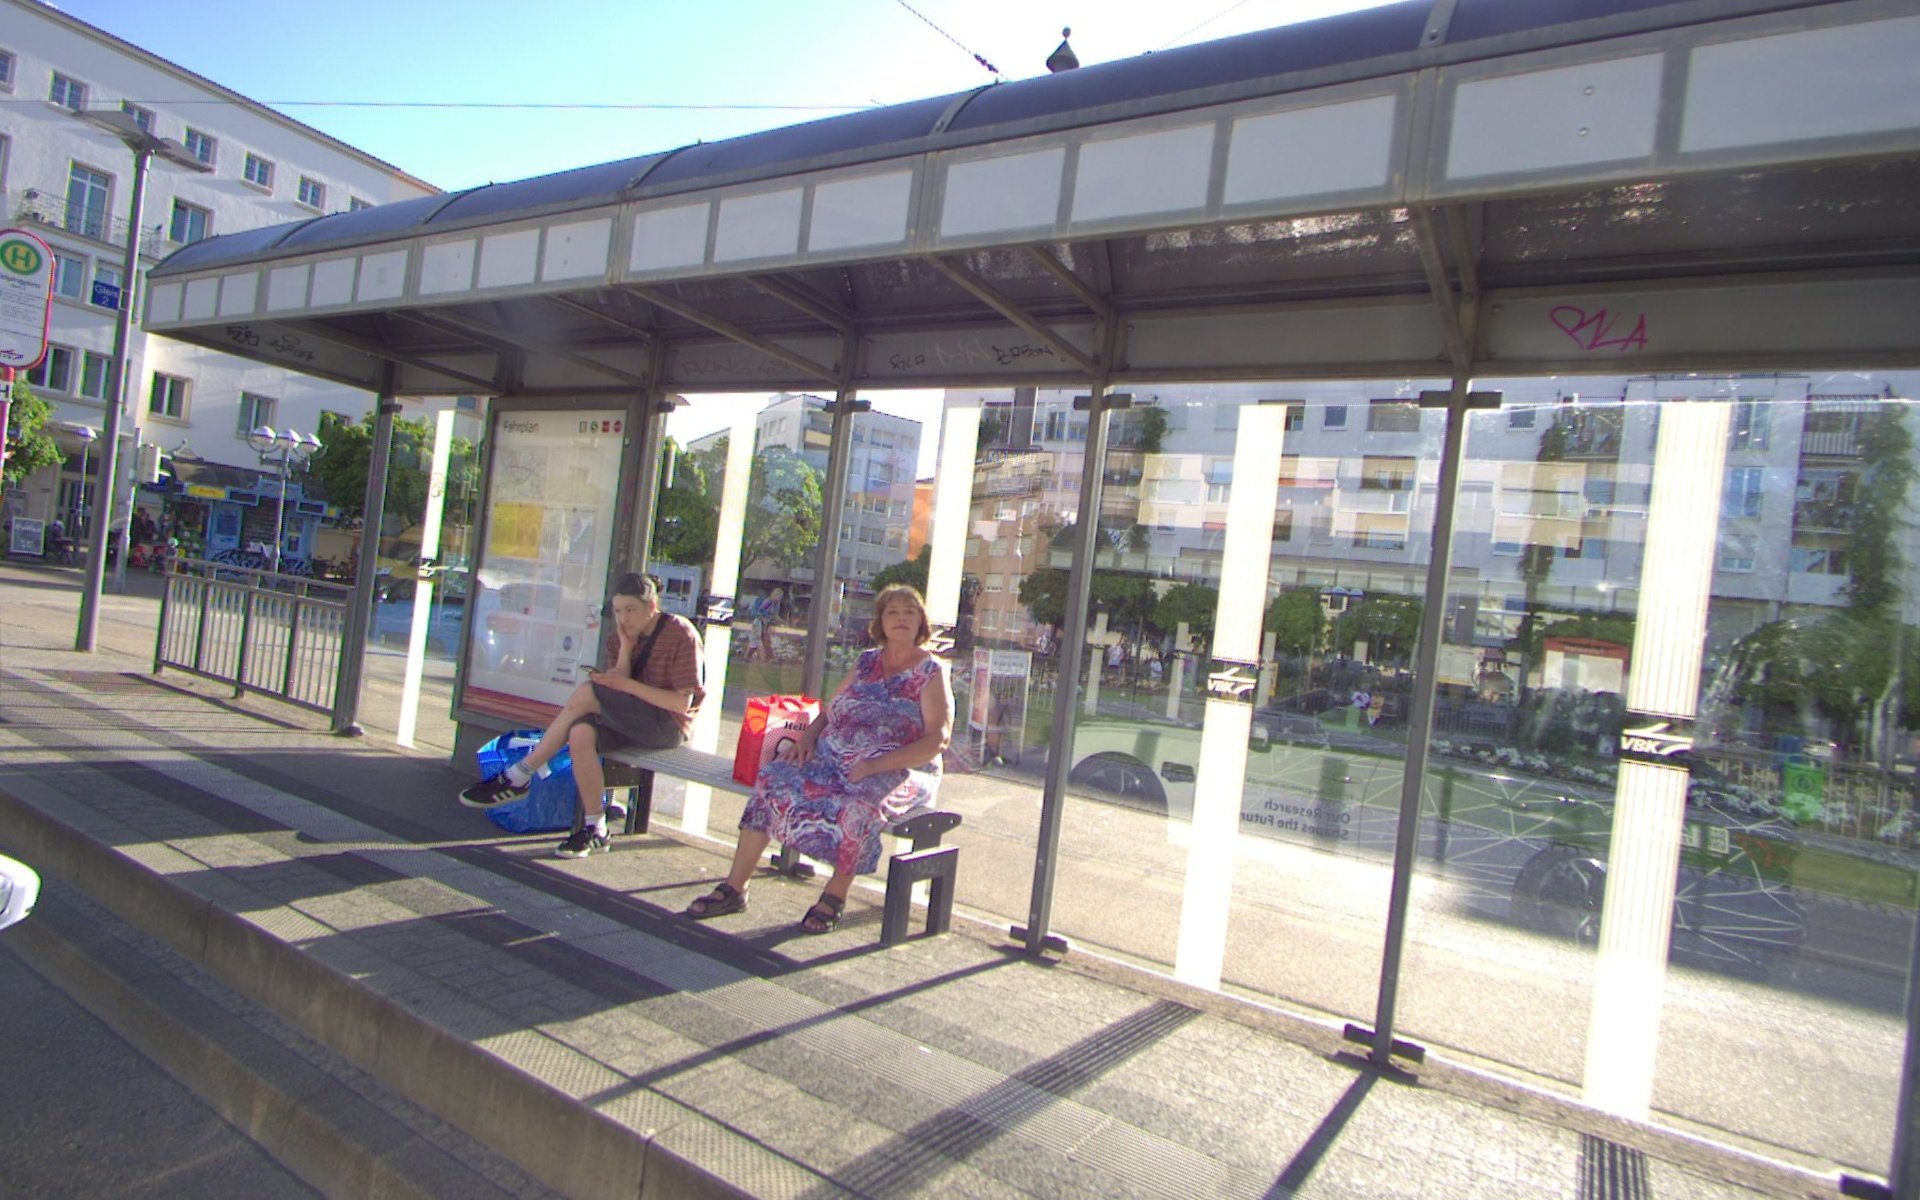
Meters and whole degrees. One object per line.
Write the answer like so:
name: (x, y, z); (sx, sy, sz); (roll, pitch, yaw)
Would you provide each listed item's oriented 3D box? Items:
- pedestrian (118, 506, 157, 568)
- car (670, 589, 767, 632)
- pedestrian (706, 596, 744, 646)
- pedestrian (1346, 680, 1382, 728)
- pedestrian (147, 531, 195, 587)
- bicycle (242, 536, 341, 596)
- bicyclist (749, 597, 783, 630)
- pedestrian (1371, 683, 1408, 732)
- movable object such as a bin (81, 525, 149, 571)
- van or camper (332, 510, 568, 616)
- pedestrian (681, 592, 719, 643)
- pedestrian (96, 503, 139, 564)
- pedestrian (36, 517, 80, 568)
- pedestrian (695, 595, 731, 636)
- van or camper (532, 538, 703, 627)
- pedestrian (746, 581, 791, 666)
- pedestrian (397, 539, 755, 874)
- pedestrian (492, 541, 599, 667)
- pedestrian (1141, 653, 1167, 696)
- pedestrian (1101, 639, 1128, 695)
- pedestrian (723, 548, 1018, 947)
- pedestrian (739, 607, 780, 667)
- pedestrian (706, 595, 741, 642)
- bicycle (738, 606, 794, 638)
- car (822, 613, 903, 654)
pedestrian: (-26.264, -2.003, 32.123); (0.649, 1.861, 0.653); (7, 0, 35)
car: (-11.572, 0.528, 48.331); (1.974, 1.529, 3.982); (5, -3, 43)
pedestrian: (-8.073, 0.717, 34.630); (0.651, 1.604, 0.902); (6, 0, 35)
pedestrian: (11.959, 3.071, 29.794); (0.718, 1.287, 0.745); (7, 0, 11)
pedestrian: (-22.620, -1.167, 28.842); (0.742, 1.427, 0.731); (10, 1, 32)
bicycle: (-21.197, -1.056, 31.964); (0.714, 1.548, 2.391); (7, -3, 31)
bicyclist: (-8.402, 0.580, 43.668); (0.941, 1.239, 0.930); (6, -3, 43)
pedestrian: (12.657, 3.159, 29.649); (0.718, 1.287, 0.745); (7, 0, 11)
movable object such as a bin: (-25.822, -1.582, 30.758); (1.197, 1.167, 1.200); (6, -1, 32)
van or camper: (-18.048, -1.199, 36.146); (2.331, 2.780, 7.132); (8, 0, 32)
pedestrian: (-9.203, 0.619, 35.683); (0.684, 1.705, 0.902); (6, 0, 35)
pedestrian: (-27.275, -2.155, 32.572); (0.667, 1.861, 0.785); (7, 0, 35)
pedestrian: (-25.728, -1.643, 28.702); (0.736, 1.332, 0.622); (7, 0, -35)
pedestrian: (-8.596, 0.537, 35.024); (0.595, 1.295, 0.902); (7, -1, 34)
van or camper: (-14.231, -0.649, 42.239); (2.340, 2.873, 6.410); (6, -1, 35)
pedestrian: (-4.184, 0.516, 21.990); (0.520, 1.765, 0.557); (6, -2, 42)
pedestrian: (-1.682, 0.457, 4.506); (0.908, 1.238, 1.001); (6, -4, 31)
pedestrian: (-6.767, 0.074, 16.445); (1.110, 1.900, 0.983); (5, -1, 29)
pedestrian: (6.432, 2.462, 33.367); (0.718, 1.287, 1.042); (7, -1, 11)
pedestrian: (5.115, 2.197, 33.269); (0.661, 1.745, 1.028); (7, 0, 11)
pedestrian: (-0.321, 0.555, 4.003); (0.613, 1.348, 0.861); (6, -4, 31)
pedestrian: (-4.232, 0.771, 21.229); (0.550, 1.182, 0.469); (5, -2, 40)
pedestrian: (-8.705, 0.671, 37.081); (0.651, 1.604, 0.902); (6, 0, 35)
bicycle: (-8.406, 0.971, 43.745); (0.711, 1.073, 2.314); (6, -3, 42)
car: (-4.434, 1.559, 46.367); (1.964, 1.503, 4.000); (7, -1, 23)
